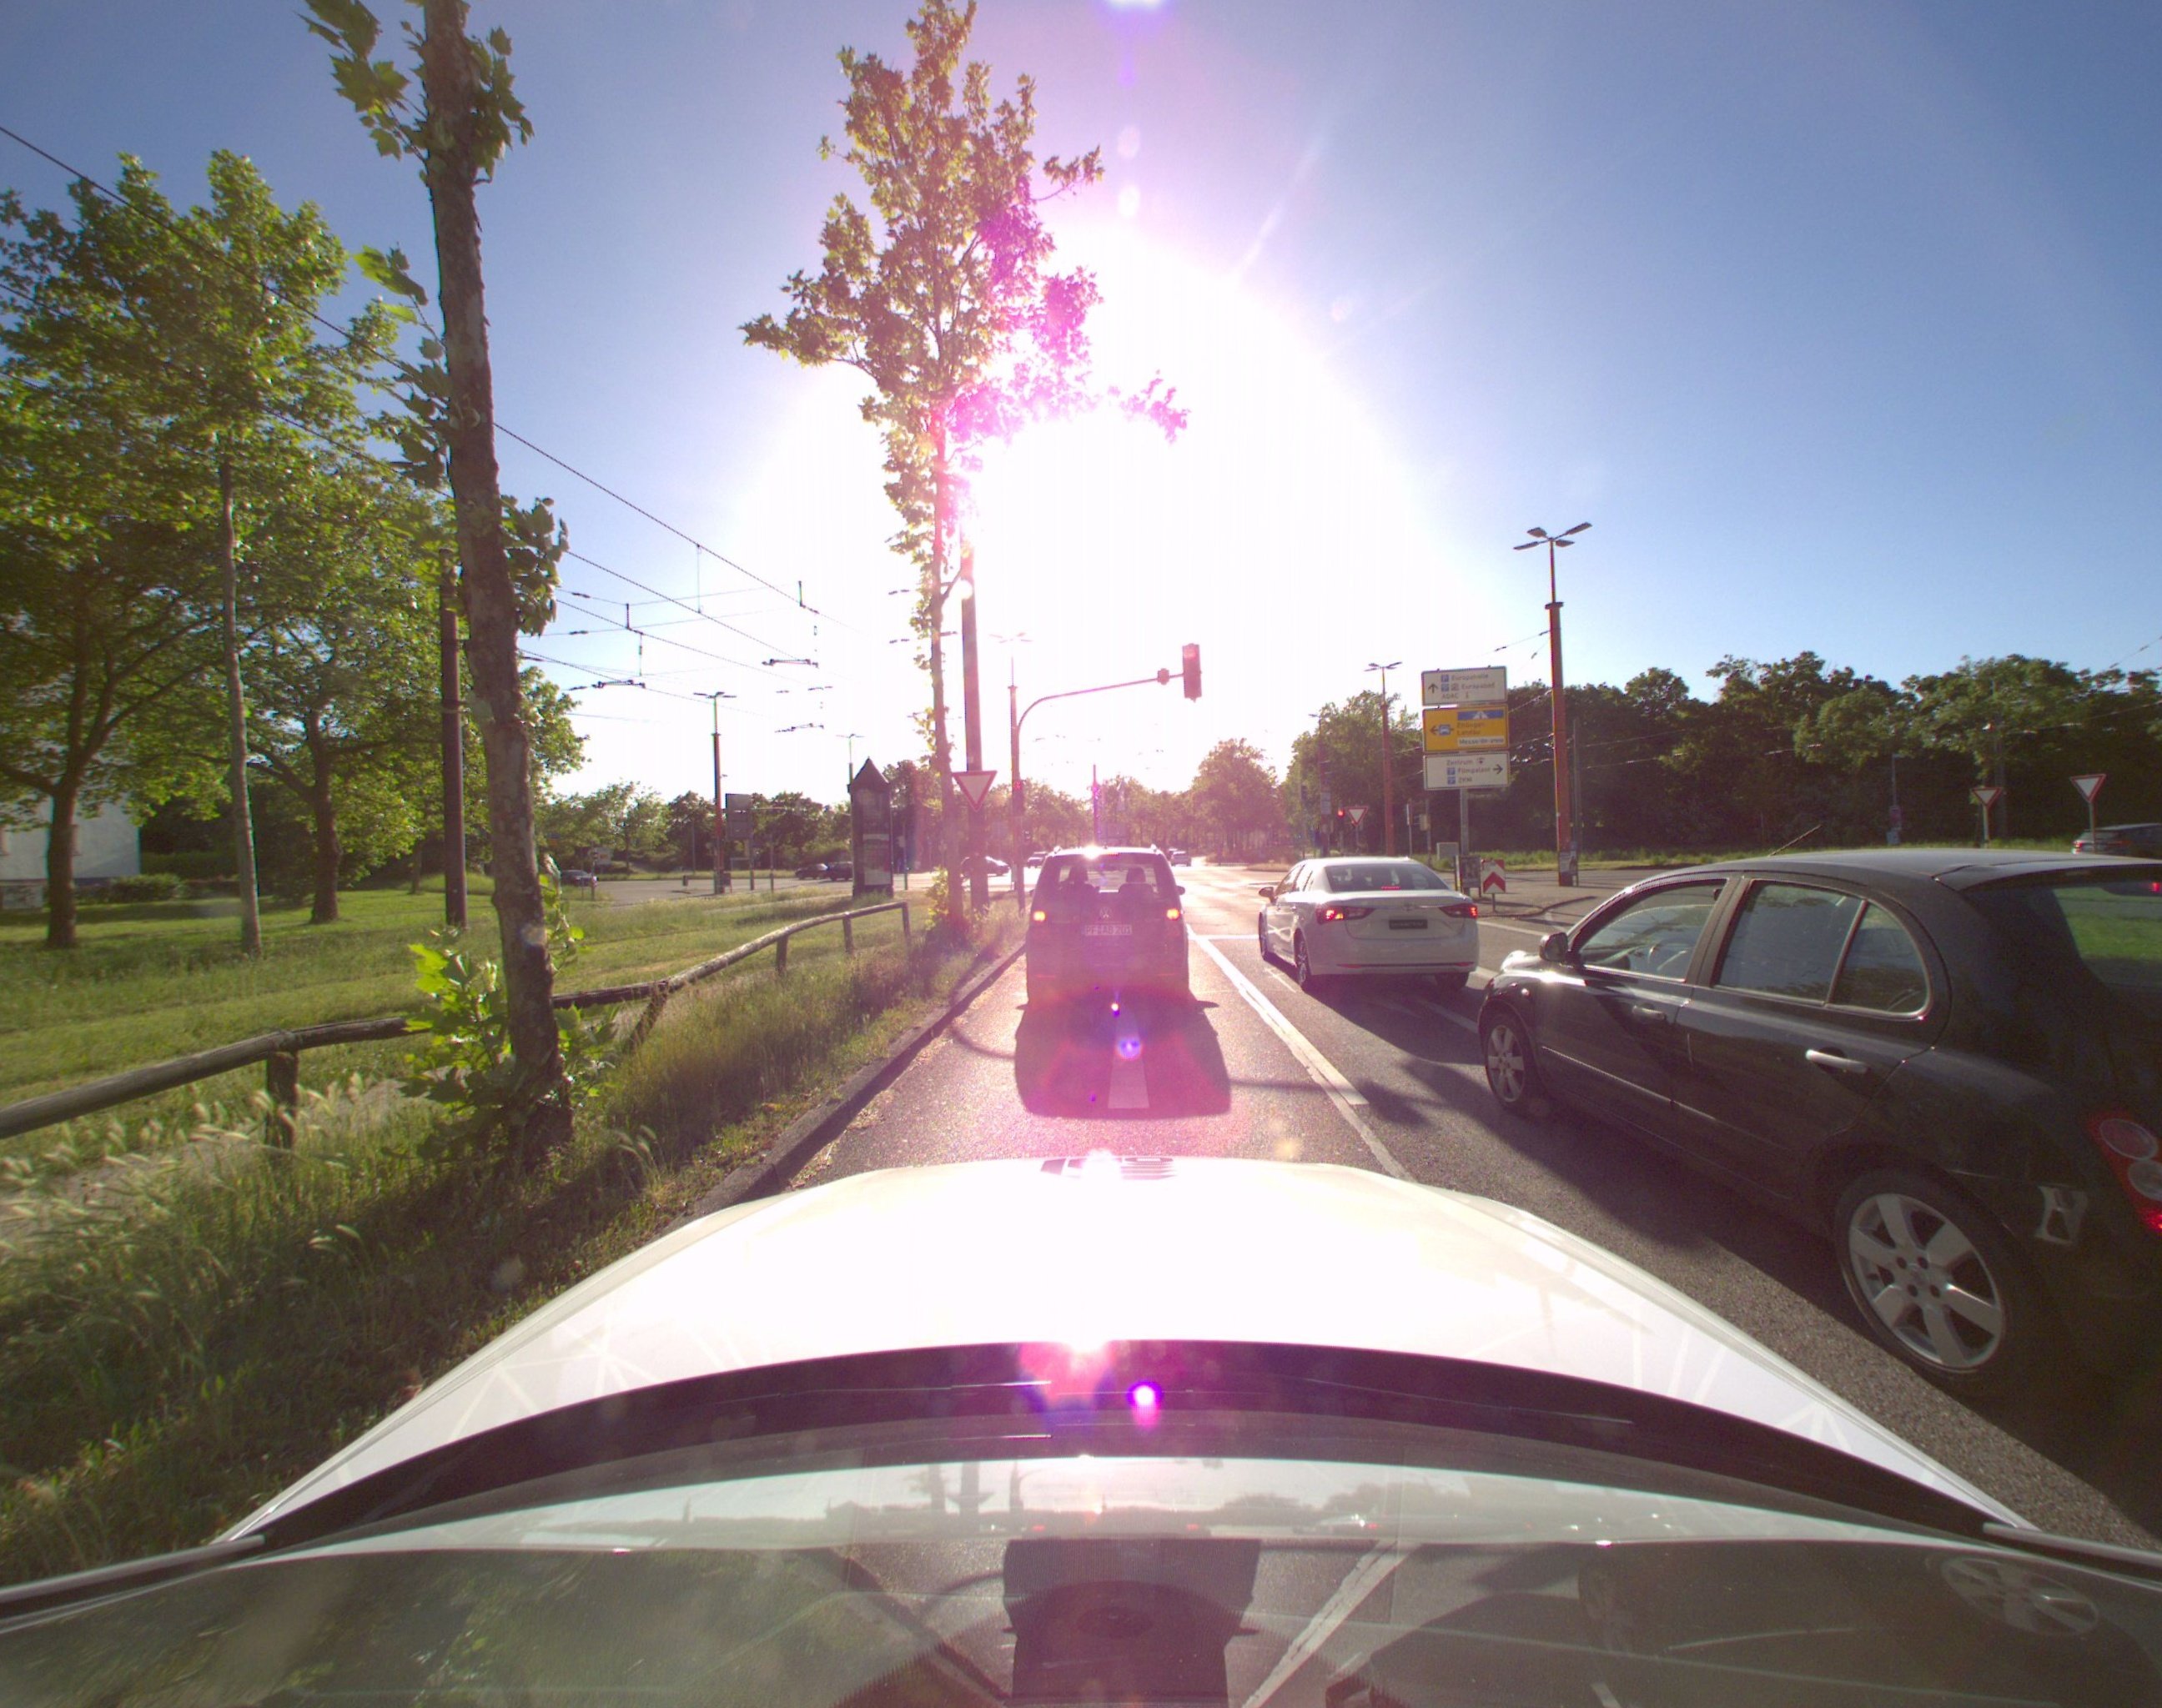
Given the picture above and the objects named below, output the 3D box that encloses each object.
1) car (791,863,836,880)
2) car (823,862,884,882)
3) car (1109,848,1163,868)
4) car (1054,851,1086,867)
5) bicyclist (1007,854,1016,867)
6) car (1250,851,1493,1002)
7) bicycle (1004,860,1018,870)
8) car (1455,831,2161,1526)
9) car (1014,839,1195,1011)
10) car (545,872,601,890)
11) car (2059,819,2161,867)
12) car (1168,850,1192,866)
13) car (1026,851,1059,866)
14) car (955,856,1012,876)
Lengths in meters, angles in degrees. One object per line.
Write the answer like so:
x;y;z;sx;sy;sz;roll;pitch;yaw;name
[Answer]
-23.146;1.526;70.386;3.765;1.310;1.753;-2;0;34;car
-17.973;1.408;64.338;4.197;1.464;1.921;-2;0;13;car
4.615;0.316;67.356;4.398;1.464;1.891;-1;0;-42;car
-1.158;0.513;91.902;1.977;1.684;4.853;-2;0;20;car
-8.121;0.763;95.010;0.686;1.457;0.879;-2;-1;20;bicyclist
3.297;0.718;10.114;1.708;1.454;4.147;-2;0;3;car
-8.152;1.229;94.789;0.728;1.090;1.971;-2;0;21;bicycle
3.168;0.692;3.510;1.550;1.506;3.517;-2;0;2;car
0.295;0.694;9.986;1.731;1.641;4.002;-2;0;2;car
-44.841;2.383;71.877;4.589;1.543;2.012;-2;0;26;car
34.454;-0.385;26.080;3.860;1.469;1.754;-2;0;6;car
9.672;0.387;79.466;1.895;1.464;4.236;-2;0;11;car
-4.395;0.516;93.650;1.977;1.684;4.853;-2;0;20;car
-7.434;0.908;62.244;4.028;1.464;1.915;-2;0;1;car
